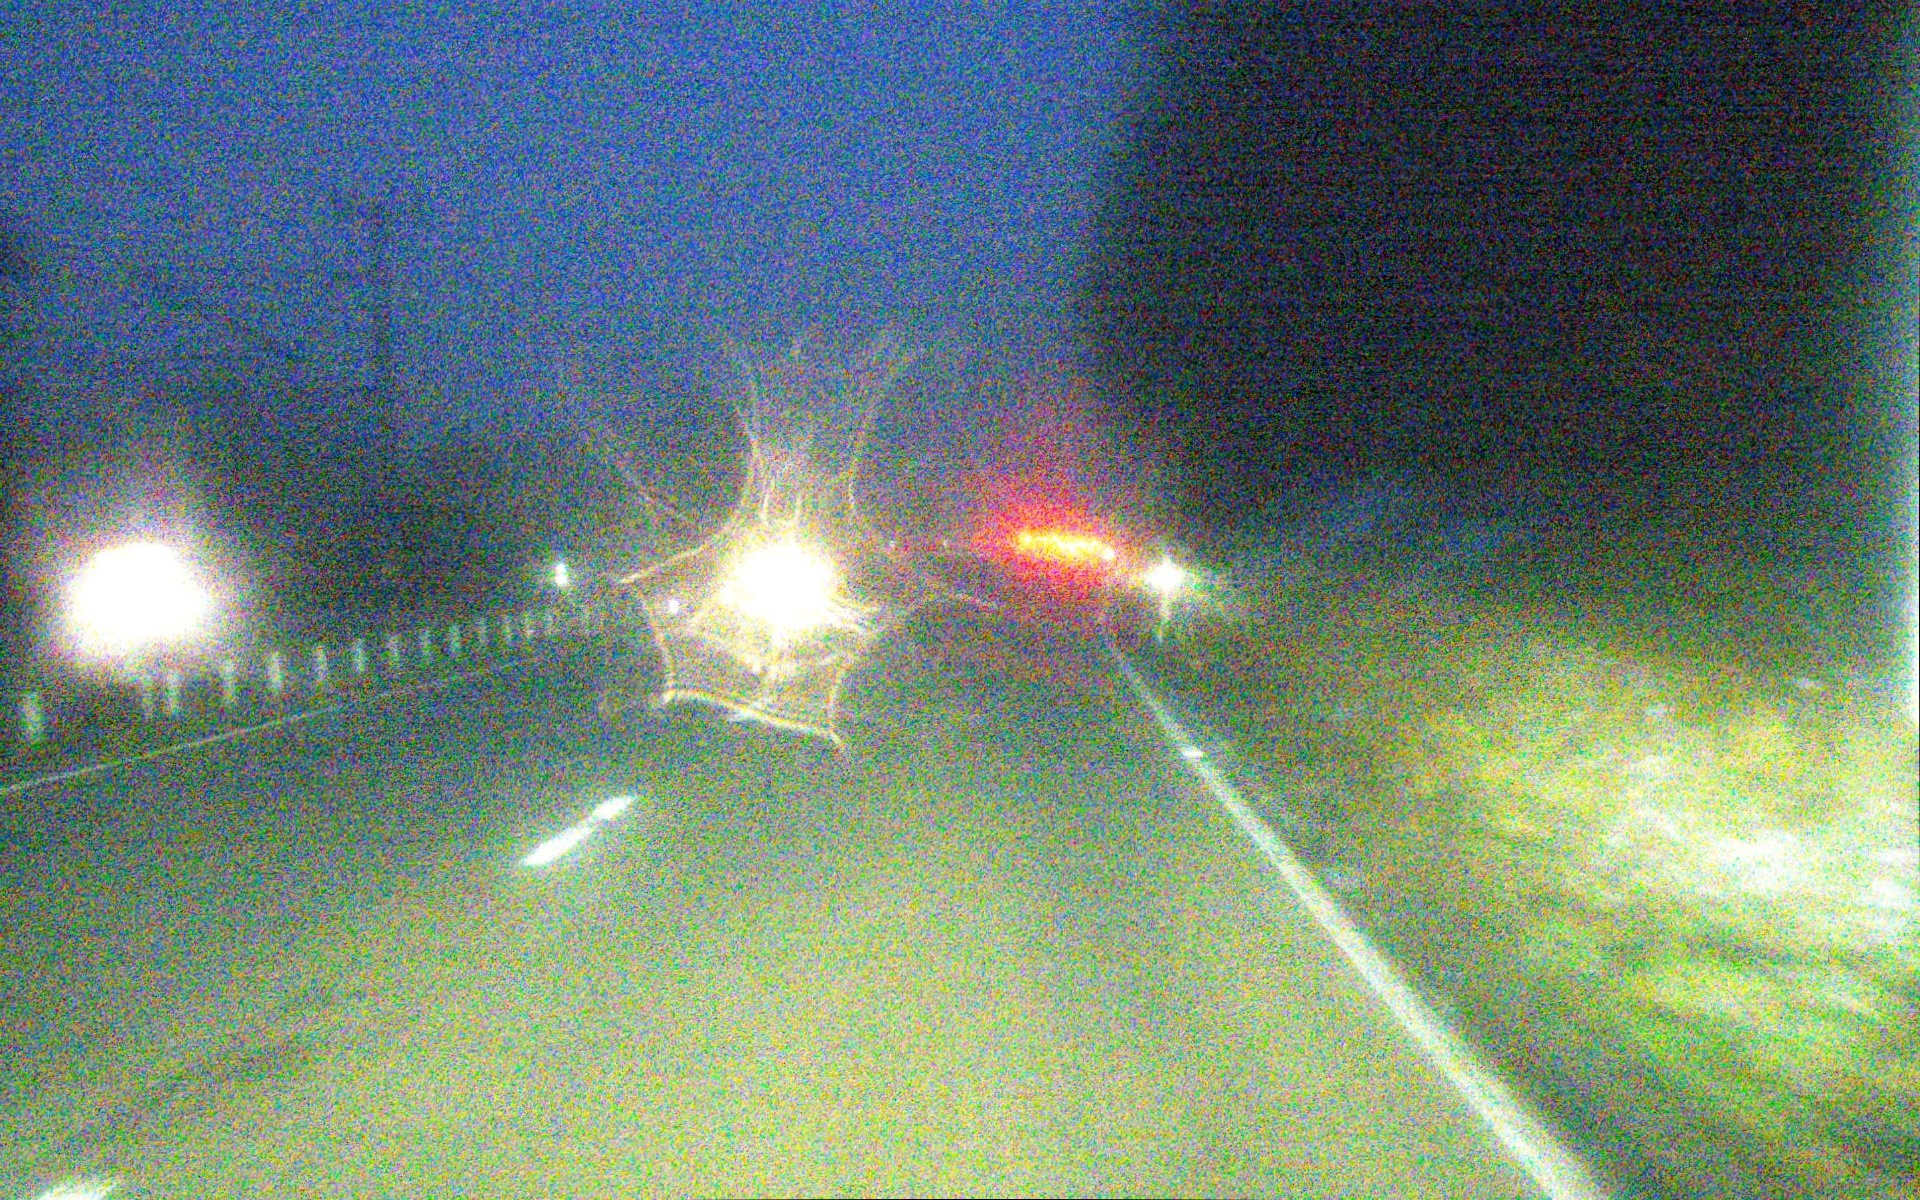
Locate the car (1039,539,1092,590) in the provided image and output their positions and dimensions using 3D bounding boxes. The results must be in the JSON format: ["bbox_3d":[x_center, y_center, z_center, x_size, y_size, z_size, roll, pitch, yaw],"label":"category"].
[{"bbox_3d":[4.574,-1.511,148.149,2.197,2.007,4.206,0,-2,3],"label":"car"}]
